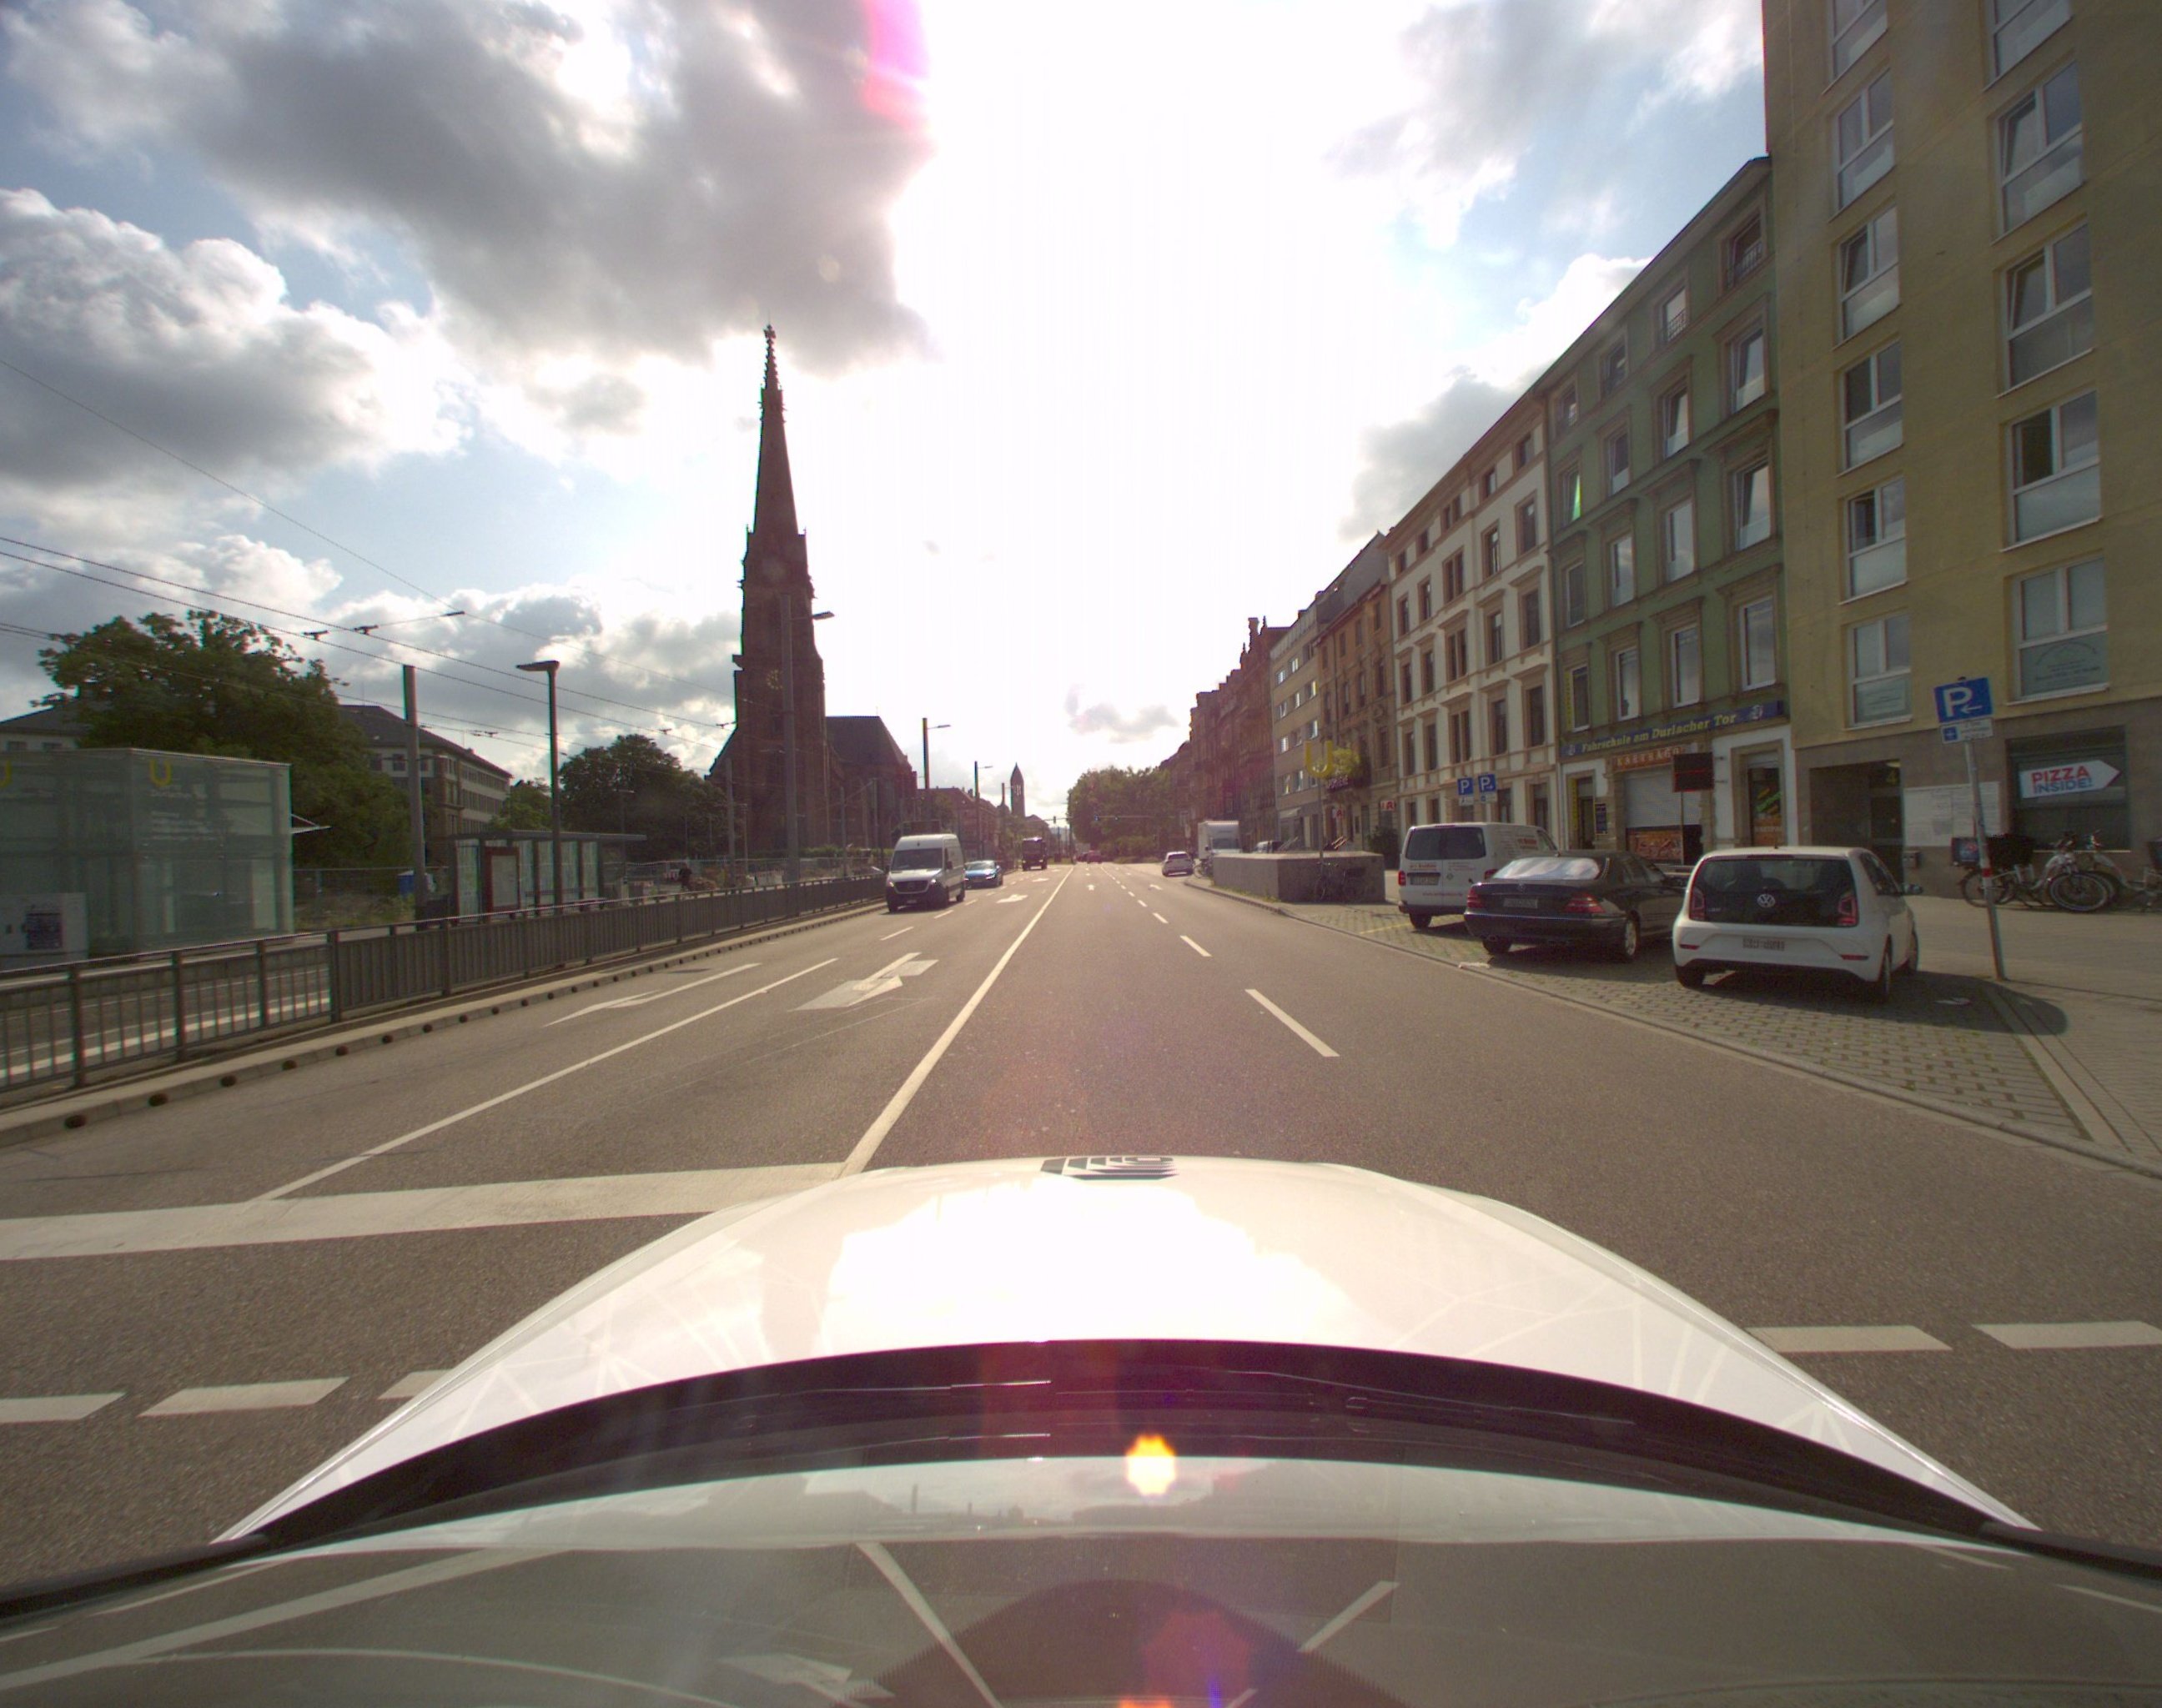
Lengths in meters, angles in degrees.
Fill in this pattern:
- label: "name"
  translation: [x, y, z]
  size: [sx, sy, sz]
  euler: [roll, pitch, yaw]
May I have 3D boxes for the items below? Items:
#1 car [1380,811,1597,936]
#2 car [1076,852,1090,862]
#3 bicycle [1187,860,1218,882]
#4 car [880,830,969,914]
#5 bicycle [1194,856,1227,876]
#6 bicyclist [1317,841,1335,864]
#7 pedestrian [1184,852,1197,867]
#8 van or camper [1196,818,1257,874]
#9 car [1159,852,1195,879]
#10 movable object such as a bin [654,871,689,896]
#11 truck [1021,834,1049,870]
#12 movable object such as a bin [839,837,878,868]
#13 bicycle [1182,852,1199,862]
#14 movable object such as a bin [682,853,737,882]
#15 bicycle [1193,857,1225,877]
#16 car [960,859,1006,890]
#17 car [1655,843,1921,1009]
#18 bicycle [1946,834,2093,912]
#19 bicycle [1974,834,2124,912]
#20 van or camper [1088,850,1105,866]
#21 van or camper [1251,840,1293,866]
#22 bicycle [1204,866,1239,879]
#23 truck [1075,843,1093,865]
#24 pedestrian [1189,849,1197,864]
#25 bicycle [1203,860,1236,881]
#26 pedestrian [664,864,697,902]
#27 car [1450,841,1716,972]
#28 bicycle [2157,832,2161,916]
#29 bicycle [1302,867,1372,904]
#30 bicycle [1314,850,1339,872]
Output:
- label: "car"
  translation: [8.052, 0.313, 15.877]
  size: [4.925, 2.085, 2.055]
  euler: [0, 0, -41]
- label: "car"
  translation: [0.338, 0.506, 129.028]
  size: [1.988, 1.508, 3.998]
  euler: [-2, 0, -2]
- label: "bicycle"
  translation: [6.438, 0.884, 43.179]
  size: [1.601, 1.085, 0.370]
  euler: [-1, 1, -20]
- label: "car"
  translation: [-5.458, 0.602, 29.140]
  size: [1.987, 2.622, 5.579]
  euler: [-3, 0, 0]
- label: "bicycle"
  translation: [7.282, 0.654, 45.851]
  size: [1.756, 1.085, 0.372]
  euler: [-1, 1, -6]
- label: "bicyclist"
  translation: [13.051, -0.081, 43.363]
  size: [0.705, 1.148, 0.814]
  euler: [0, -4, 2]
- label: "pedestrian"
  translation: [9.377, 0.495, 69.849]
  size: [0.748, 1.316, 0.812]
  euler: [1, -1, -38]
- label: "van or camper"
  translation: [9.444, -0.458, 53.602]
  size: [2.702, 3.331, 7.642]
  euler: [-2, -1, 2]
- label: "car"
  translation: [5.938, 0.714, 50.897]
  size: [1.784, 1.437, 4.345]
  euler: [-6, -1, 2]
- label: "movable object such as a bin"
  translation: [-38.886, 2.734, 77.401]
  size: [1.997, 2.206, 4.251]
  euler: [-2, 0, -15]
- label: "truck"
  translation: [-4.936, -0.256, 88.920]
  size: [2.455, 3.648, 7.450]
  euler: [-2, 0, 1]
- label: "movable object such as a bin"
  translation: [-28.046, -0.140, 102.753]
  size: [2.651, 3.730, 5.606]
  euler: [-2, 0, 8]
- label: "bicycle"
  translation: [15.127, 0.420, 112.438]
  size: [2.186, 1.181, 0.683]
  euler: [-2, 0, -5]
- label: "movable object such as a bin"
  translation: [-39.532, 1.412, 86.751]
  size: [4.887, 2.801, 2.000]
  euler: [-2, 0, 0]
- label: "bicycle"
  translation: [7.282, 0.747, 46.249]
  size: [1.756, 1.085, 0.372]
  euler: [-1, 1, -6]
- label: "car"
  translation: [-5.293, 1.094, 44.493]
  size: [1.843, 1.455, 4.555]
  euler: [-4, 0, 1]
- label: "car"
  translation: [7.789, 0.644, 8.876]
  size: [3.530, 1.440, 1.699]
  euler: [0, -1, -41]
- label: "bicycle"
  translation: [15.517, 0.306, 13.528]
  size: [0.484, 1.201, 1.645]
  euler: [-2, 0, 0]
- label: "bicycle"
  translation: [16.052, 0.307, 13.570]
  size: [0.484, 1.201, 1.645]
  euler: [-2, 0, 0]
- label: "van or camper"
  translation: [2.194, 0.597, 116.438]
  size: [2.005, 1.915, 4.515]
  euler: [0, -4, -4]
- label: "van or camper"
  translation: [15.146, -0.065, 64.765]
  size: [1.987, 1.905, 5.297]
  euler: [-4, 0, 0]
- label: "bicycle"
  translation: [7.091, 0.936, 41.231]
  size: [0.641, 0.586, 1.750]
  euler: [-2, -1, -40]
- label: "truck"
  translation: [0.627, 0.013, 149.170]
  size: [3.159, 3.287, 7.295]
  euler: [-1, -5, 1]
- label: "pedestrian"
  translation: [14.504, 0.313, 105.212]
  size: [0.883, 2.014, 0.996]
  euler: [0, -1, 0]
- label: "bicycle"
  translation: [7.500, 0.899, 44.171]
  size: [1.760, 1.085, 0.371]
  euler: [-1, 1, -12]
- label: "pedestrian"
  translation: [-19.273, 1.386, 39.207]
  size: [0.992, 1.799, 1.048]
  euler: [-1, 2, 6]
- label: "car"
  translation: [7.408, 0.609, 11.762]
  size: [5.092, 1.468, 1.868]
  euler: [-1, -1, -42]
- label: "bicycle"
  translation: [15.621, 0.278, 10.832]
  size: [0.484, 1.201, 1.647]
  euler: [-2, 0, 5]
- label: "bicycle"
  translation: [7.034, 0.854, 22.397]
  size: [1.769, 1.004, 0.512]
  euler: [0, -1, -5]
- label: "bicycle"
  translation: [13.059, 0.387, 43.408]
  size: [0.701, 1.048, 2.209]
  euler: [0, -4, 2]
